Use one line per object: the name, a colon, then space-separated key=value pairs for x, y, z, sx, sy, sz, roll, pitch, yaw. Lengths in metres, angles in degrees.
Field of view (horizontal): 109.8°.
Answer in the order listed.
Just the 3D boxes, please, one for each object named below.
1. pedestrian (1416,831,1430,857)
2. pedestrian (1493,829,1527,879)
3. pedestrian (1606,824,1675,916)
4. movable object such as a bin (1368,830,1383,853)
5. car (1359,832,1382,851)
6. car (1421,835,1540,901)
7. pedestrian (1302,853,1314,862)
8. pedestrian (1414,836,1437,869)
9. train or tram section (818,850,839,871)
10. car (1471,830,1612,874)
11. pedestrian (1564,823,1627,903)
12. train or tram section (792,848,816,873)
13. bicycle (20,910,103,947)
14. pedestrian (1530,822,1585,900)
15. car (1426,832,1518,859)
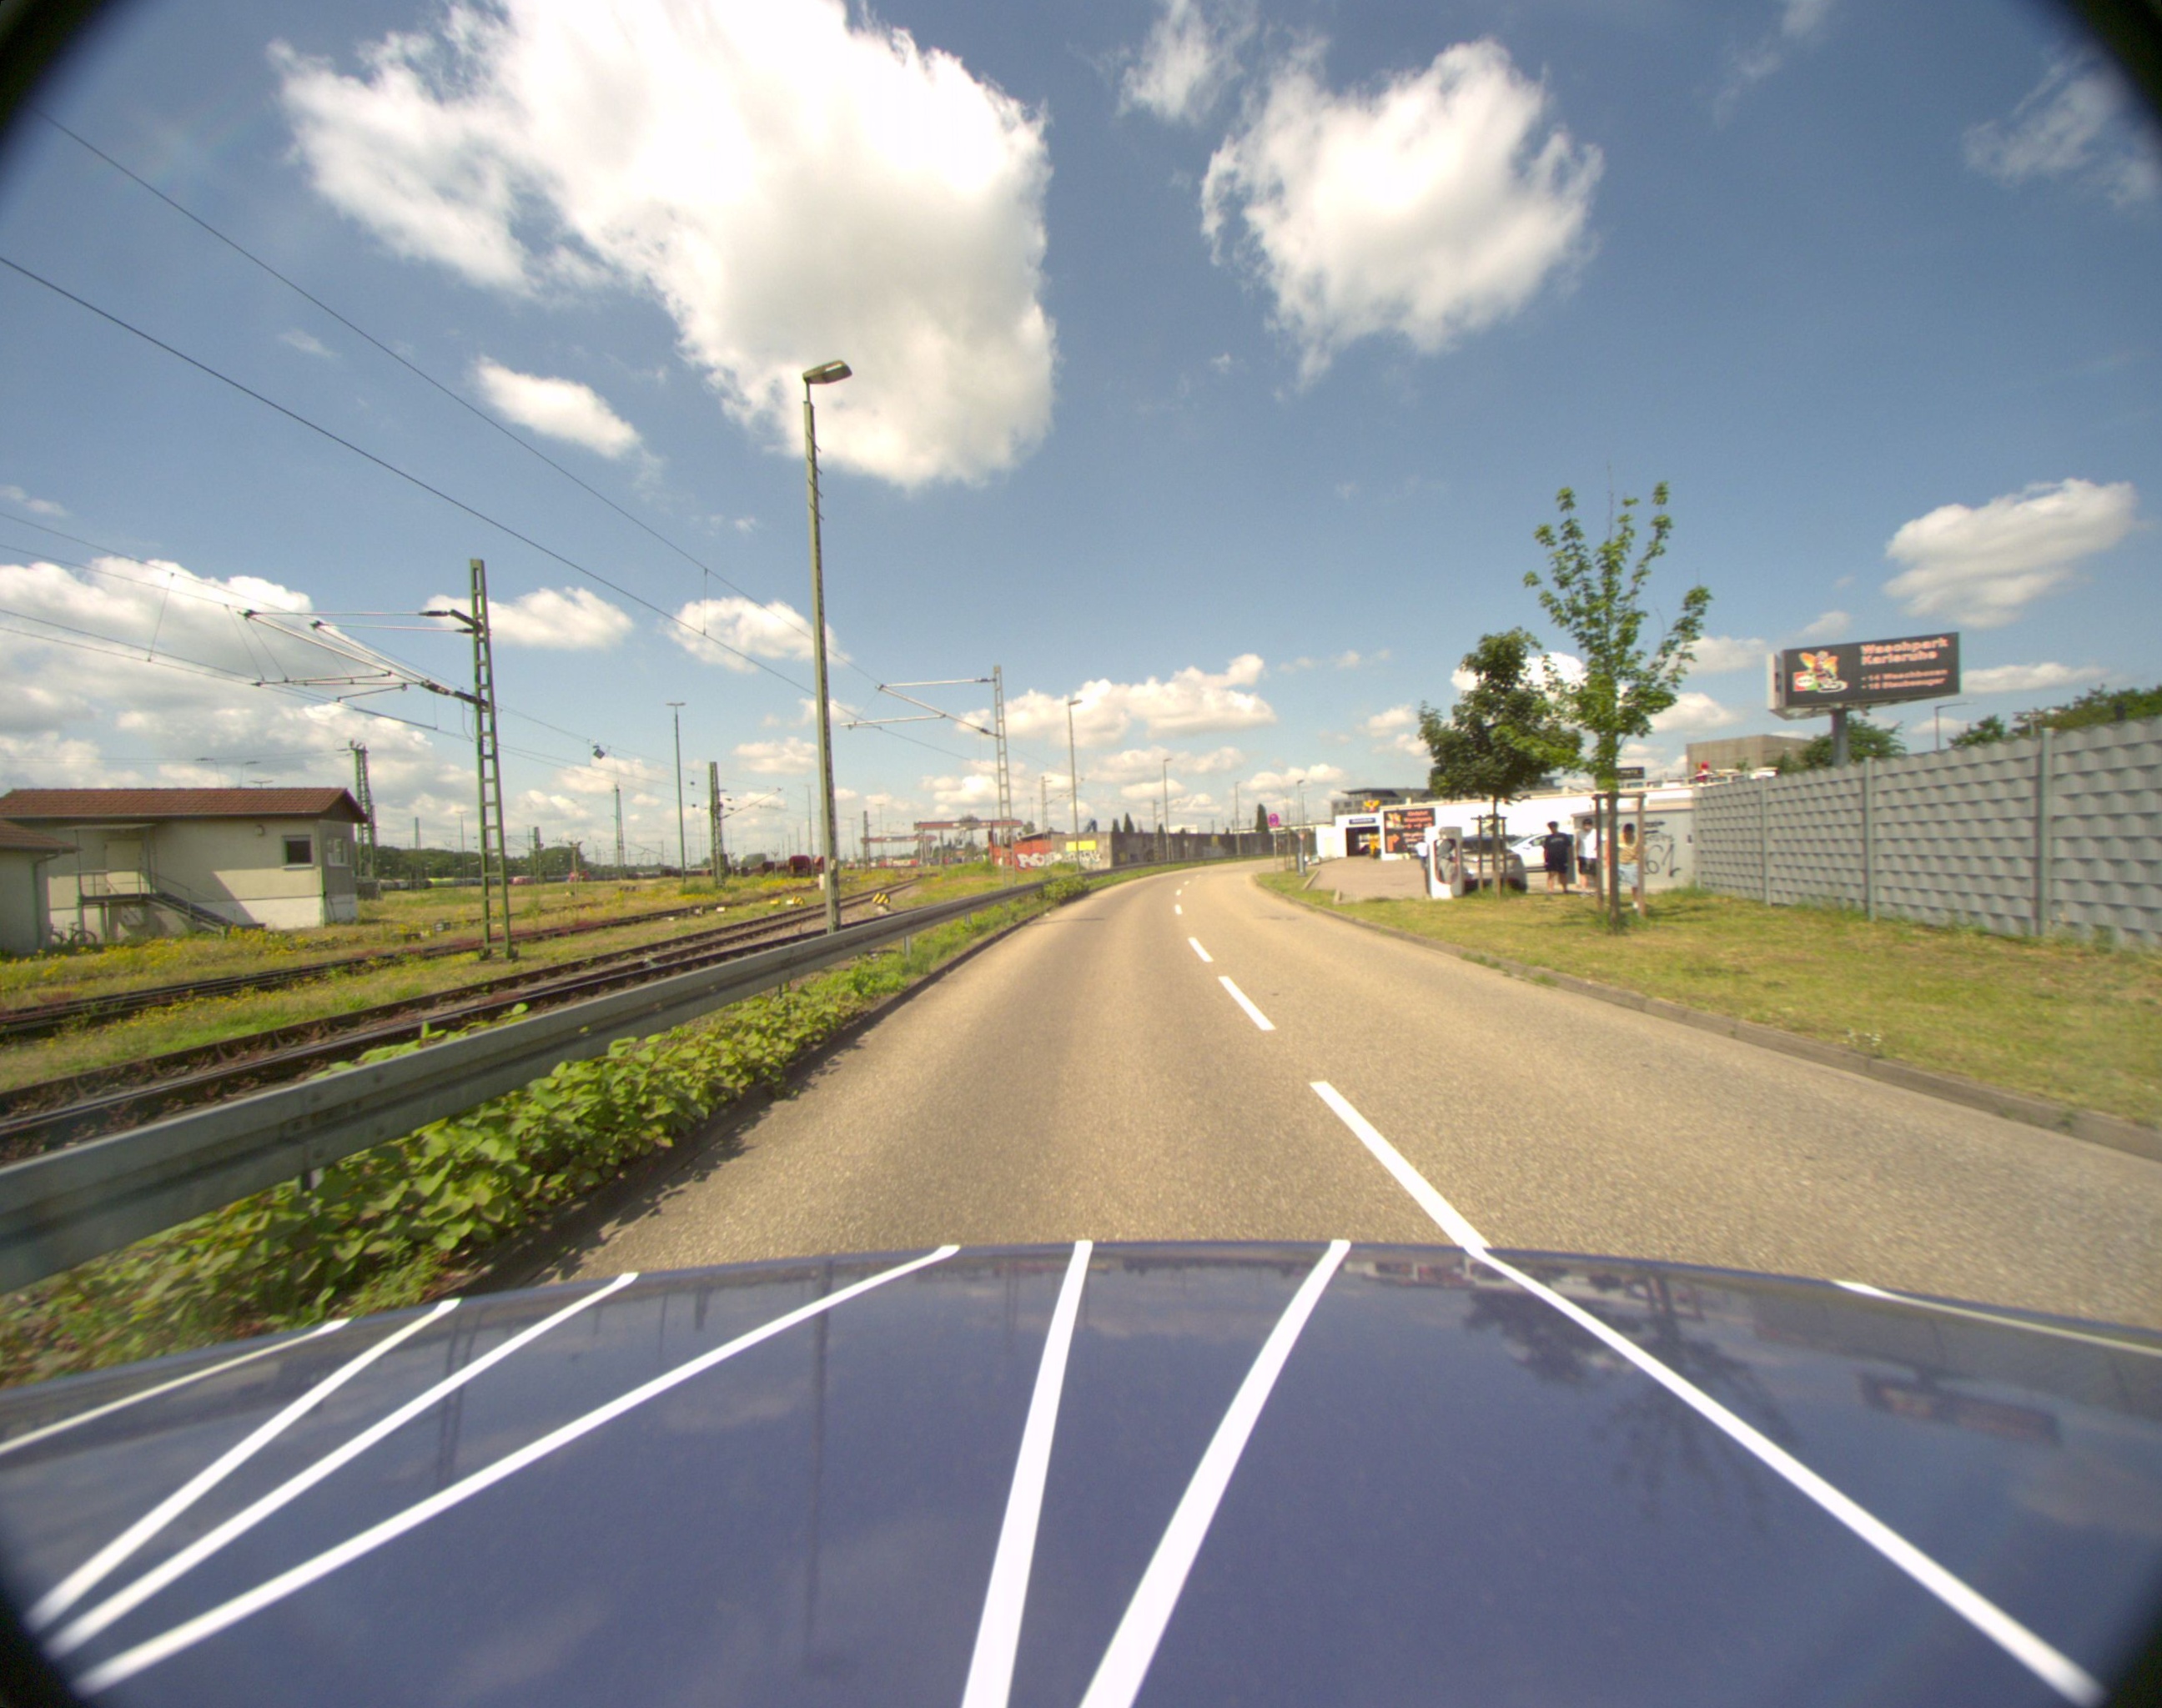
pedestrian: x=27.116 y=-0.822 z=60.192 sx=0.939 sy=2.003 sz=0.866 roll=-2 pitch=3 yaw=25
pedestrian: x=15.482 y=-0.018 z=27.445 sx=0.863 sy=1.741 sz=0.728 roll=-3 pitch=1 yaw=17
pedestrian: x=9.722 y=0.270 z=13.235 sx=0.738 sy=1.533 sz=0.816 roll=-2 pitch=1 yaw=20
movable object such as a bin: x=30.043 y=-1.272 z=77.392 sx=1.063 sy=2.140 sz=2.708 roll=-2 pitch=2 yaw=27
car: x=33.317 y=-1.467 z=87.251 sx=1.995 sy=2.097 sz=5.018 roll=-2 pitch=1 yaw=25
car: x=10.580 y=0.362 z=20.505 sx=1.933 sy=1.508 sz=4.782 roll=-3 pitch=-1 yaw=17
pedestrian: x=19.808 y=0.280 z=66.260 sx=0.863 sy=0.755 sz=0.819 roll=0 pitch=1 yaw=25
pedestrian: x=18.012 y=-0.088 z=39.741 sx=0.863 sy=1.644 sz=0.942 roll=-3 pitch=1 yaw=14
train or tram section: x=-48.697 y=1.312 z=146.340 sx=3.208 sy=3.695 sz=12.531 roll=-3 pitch=0 yaw=-20
car: x=18.904 y=-0.093 z=31.404 sx=4.558 sy=1.515 sz=2.002 roll=-3 pitch=1 yaw=15
pedestrian: x=10.362 y=0.172 z=15.310 sx=0.714 sy=1.556 sz=0.757 roll=-3 pitch=2 yaw=-27
train or tram section: x=-45.052 y=1.103 z=123.353 sx=3.305 sy=3.695 sz=12.531 roll=-3 pitch=0 yaw=-20
bicycle: x=-38.002 y=2.773 z=28.343 sx=1.875 sy=1.197 sz=0.412 roll=-3 pitch=1 yaw=-21
pedestrian: x=9.986 y=0.144 z=15.933 sx=0.723 sy=1.570 sz=0.712 roll=-3 pitch=2 yaw=-35
car: x=24.672 y=-0.538 z=48.154 sx=4.752 sy=1.447 sz=2.240 roll=-3 pitch=0 yaw=15
